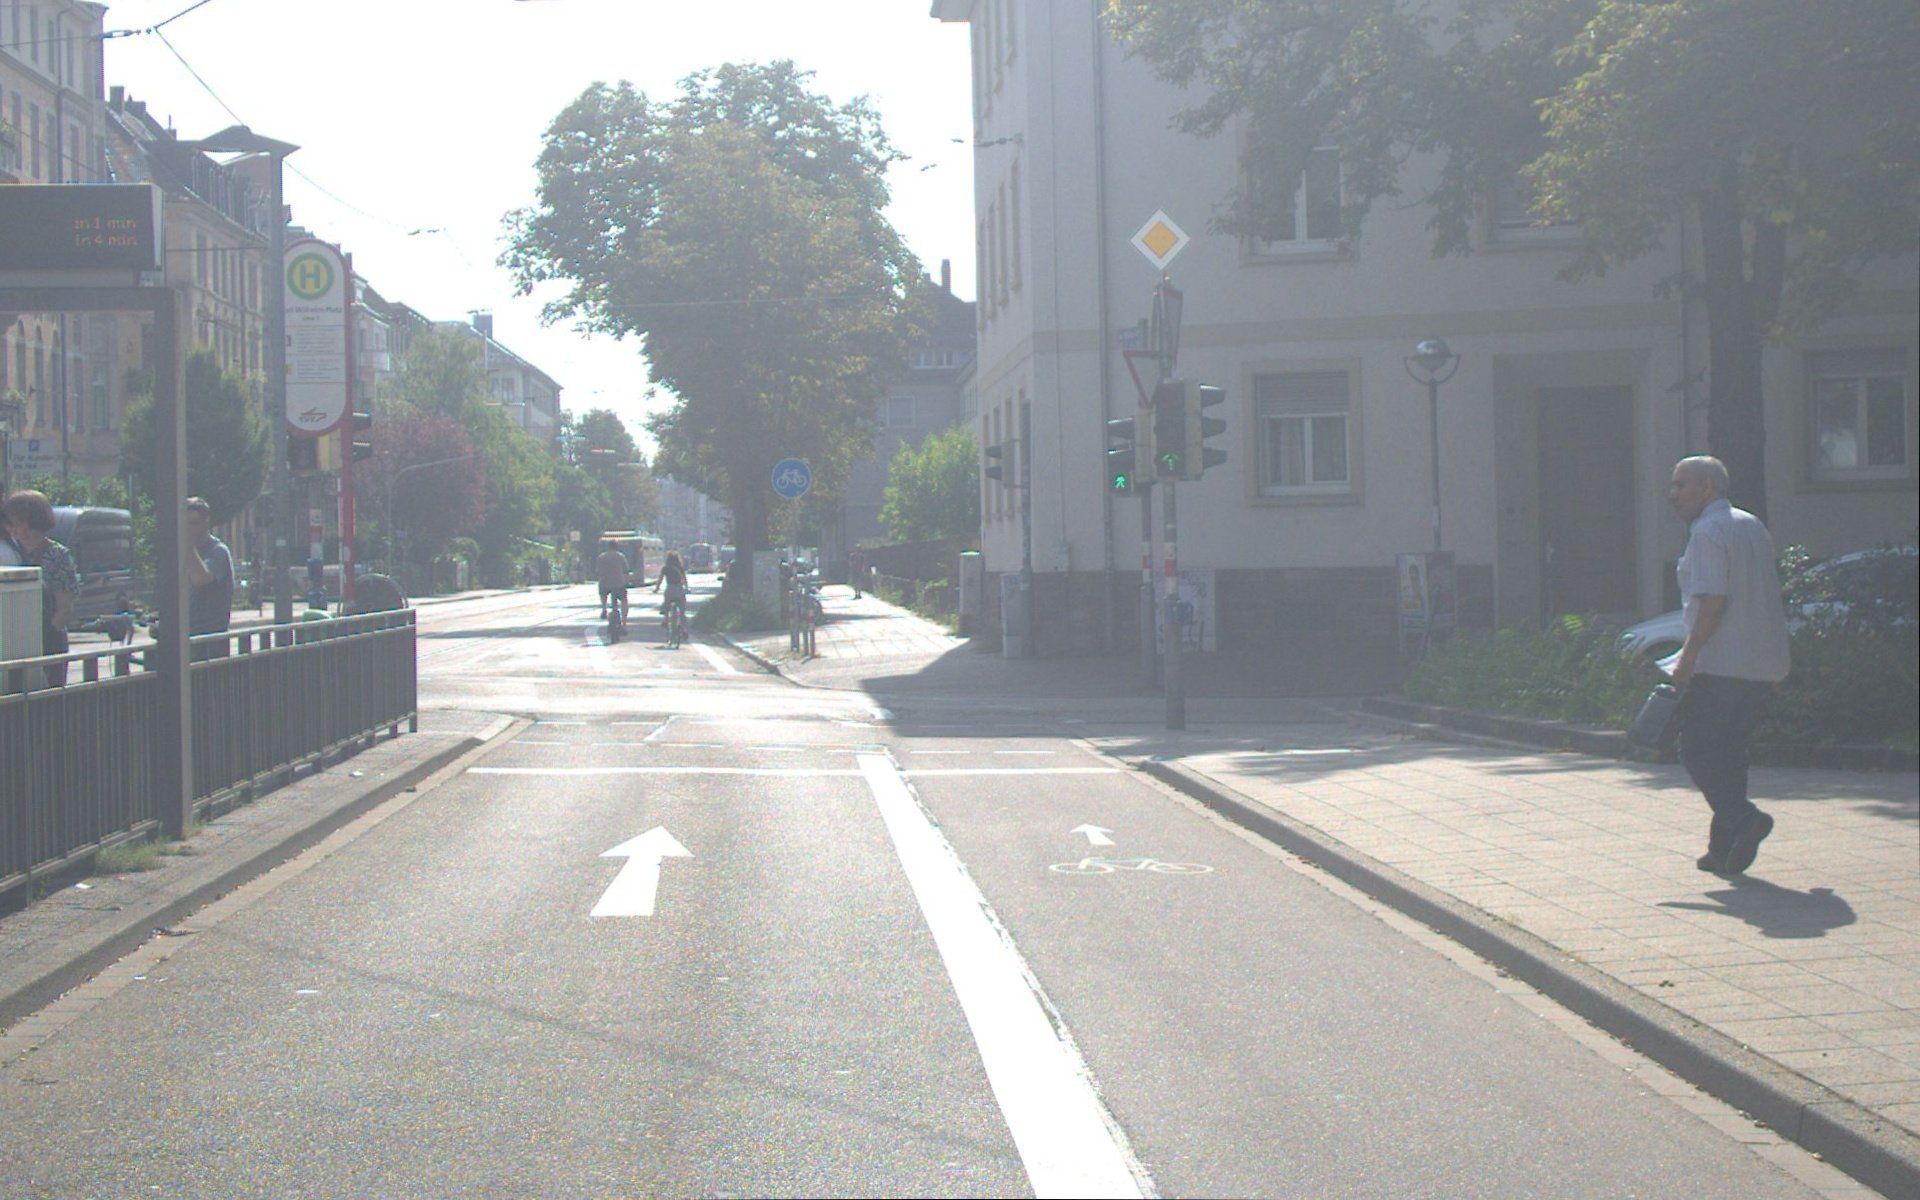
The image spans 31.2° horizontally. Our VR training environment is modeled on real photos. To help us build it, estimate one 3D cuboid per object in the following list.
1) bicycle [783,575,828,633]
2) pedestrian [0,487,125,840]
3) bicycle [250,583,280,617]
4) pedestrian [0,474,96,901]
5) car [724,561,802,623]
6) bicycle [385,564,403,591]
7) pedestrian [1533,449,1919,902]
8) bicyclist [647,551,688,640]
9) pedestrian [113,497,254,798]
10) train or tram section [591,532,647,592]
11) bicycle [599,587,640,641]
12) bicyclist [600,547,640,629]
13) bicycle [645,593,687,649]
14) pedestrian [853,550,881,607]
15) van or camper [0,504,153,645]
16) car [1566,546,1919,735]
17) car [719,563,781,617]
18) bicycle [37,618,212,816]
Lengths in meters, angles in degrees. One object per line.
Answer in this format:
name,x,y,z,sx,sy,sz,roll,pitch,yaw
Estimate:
bicycle,-3.063,0.073,67.955,0.771,1.100,2.334,-1,1,-5
pedestrian,-4.702,0.314,17.456,0.767,1.754,0.680,-1,1,-4
bicycle,-21.998,-0.003,108.841,0.545,1.054,1.839,3,0,-1
pedestrian,-4.118,0.367,14.856,0.603,1.800,0.730,-1,1,-4
car,-5.230,-0.228,91.620,1.645,1.535,3.842,-3,0,3
bicycle,-23.681,-0.935,143.912,0.508,1.104,2.003,-1,0,-3
pedestrian,3.132,0.292,14.053,1.077,1.719,0.969,-5,1,-34
bicyclist,-4.896,-0.082,57.553,0.654,1.469,0.909,1,0,-4
pedestrian,-4.650,0.273,20.618,0.689,1.760,0.796,-1,1,-4
train or tram section,-20.599,-2.261,208.175,2.734,3.494,15.435,0,0,-3
bicycle,-5.901,0.240,59.630,0.626,0.906,1.525,1,0,-4
bicyclist,-5.892,-0.204,59.639,0.626,1.396,0.929,1,0,-4
bicycle,-4.912,0.348,57.569,0.654,0.906,1.775,1,0,-4
pedestrian,-2.872,-0.676,106.259,0.752,1.743,0.878,-1,0,4
van or camper,-17.975,-0.477,68.245,2.050,2.635,6.089,-1,0,4
car,7.823,0.319,29.113,4.949,1.464,1.873,-1,3,38
car,-6.061,-0.298,99.586,1.645,1.443,4.246,-3,0,-3
bicycle,-5.016,0.682,20.726,0.472,1.100,1.737,-1,1,5
